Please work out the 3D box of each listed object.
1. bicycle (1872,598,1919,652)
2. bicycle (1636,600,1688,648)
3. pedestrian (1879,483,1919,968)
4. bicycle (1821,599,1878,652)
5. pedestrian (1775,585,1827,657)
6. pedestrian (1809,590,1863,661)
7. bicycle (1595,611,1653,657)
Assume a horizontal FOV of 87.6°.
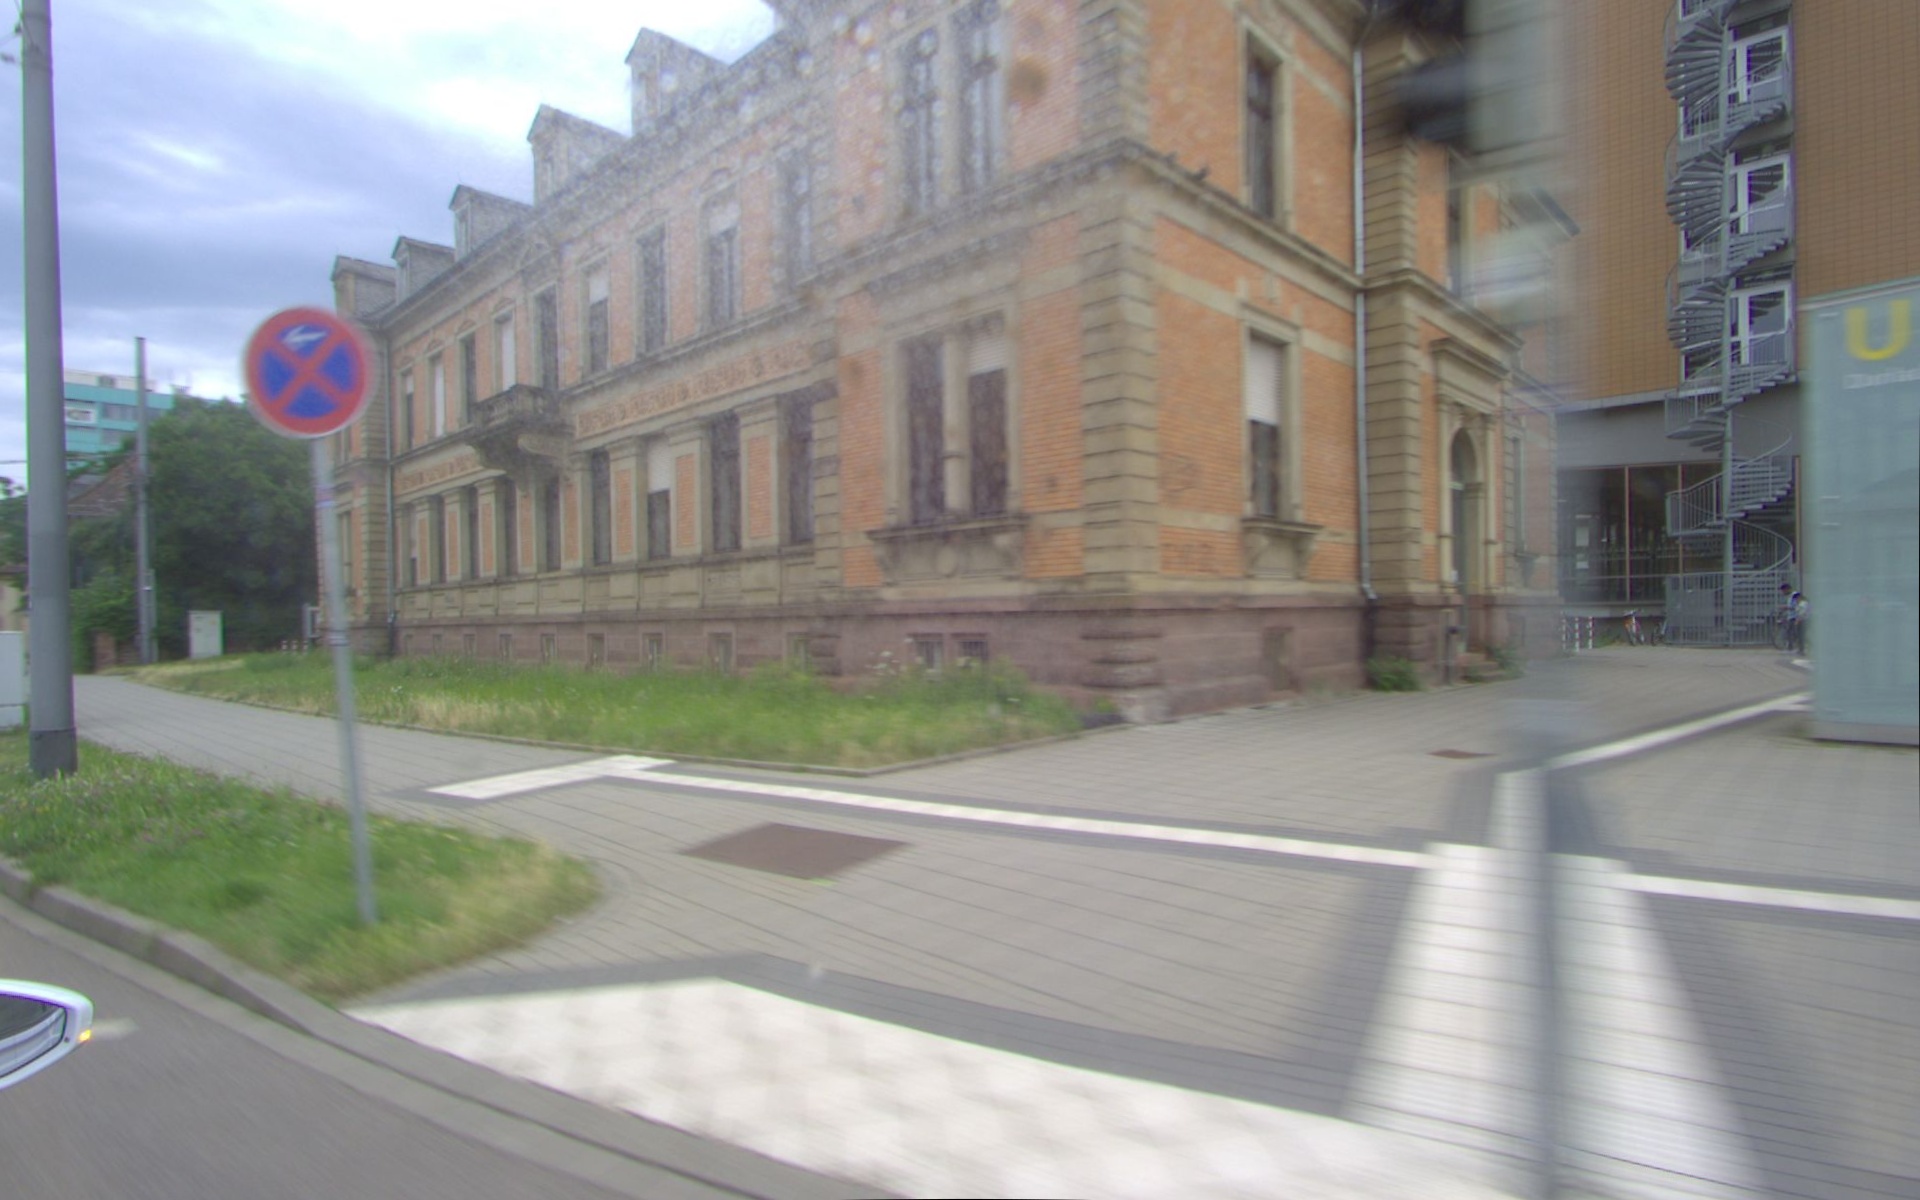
[{"bbox_3d":[24.417,0.643,26.056,2.583,1.356,0.732,0,-2,-42],"label":"bicycle"},{"bbox_3d":[20.728,0.706,29.537,2.583,1.356,0.641,0,-2,-42],"label":"bicycle"},{"bbox_3d":[4.274,0.477,3.521,1.264,1.892,0.886,-1,0,19],"label":"pedestrian"},{"bbox_3d":[23.854,0.671,26.835,2.583,1.356,0.807,0,-2,-42],"label":"bicycle"},{"bbox_3d":[21.057,0.517,25.067,0.716,1.759,0.867,-1,0,-39],"label":"pedestrian"},{"bbox_3d":[20.961,0.610,23.964,0.716,1.652,0.867,-1,0,-39],"label":"pedestrian"},{"bbox_3d":[20.119,1.014,30.337,2.583,1.356,0.807,0,-2,-42],"label":"bicycle"}]
